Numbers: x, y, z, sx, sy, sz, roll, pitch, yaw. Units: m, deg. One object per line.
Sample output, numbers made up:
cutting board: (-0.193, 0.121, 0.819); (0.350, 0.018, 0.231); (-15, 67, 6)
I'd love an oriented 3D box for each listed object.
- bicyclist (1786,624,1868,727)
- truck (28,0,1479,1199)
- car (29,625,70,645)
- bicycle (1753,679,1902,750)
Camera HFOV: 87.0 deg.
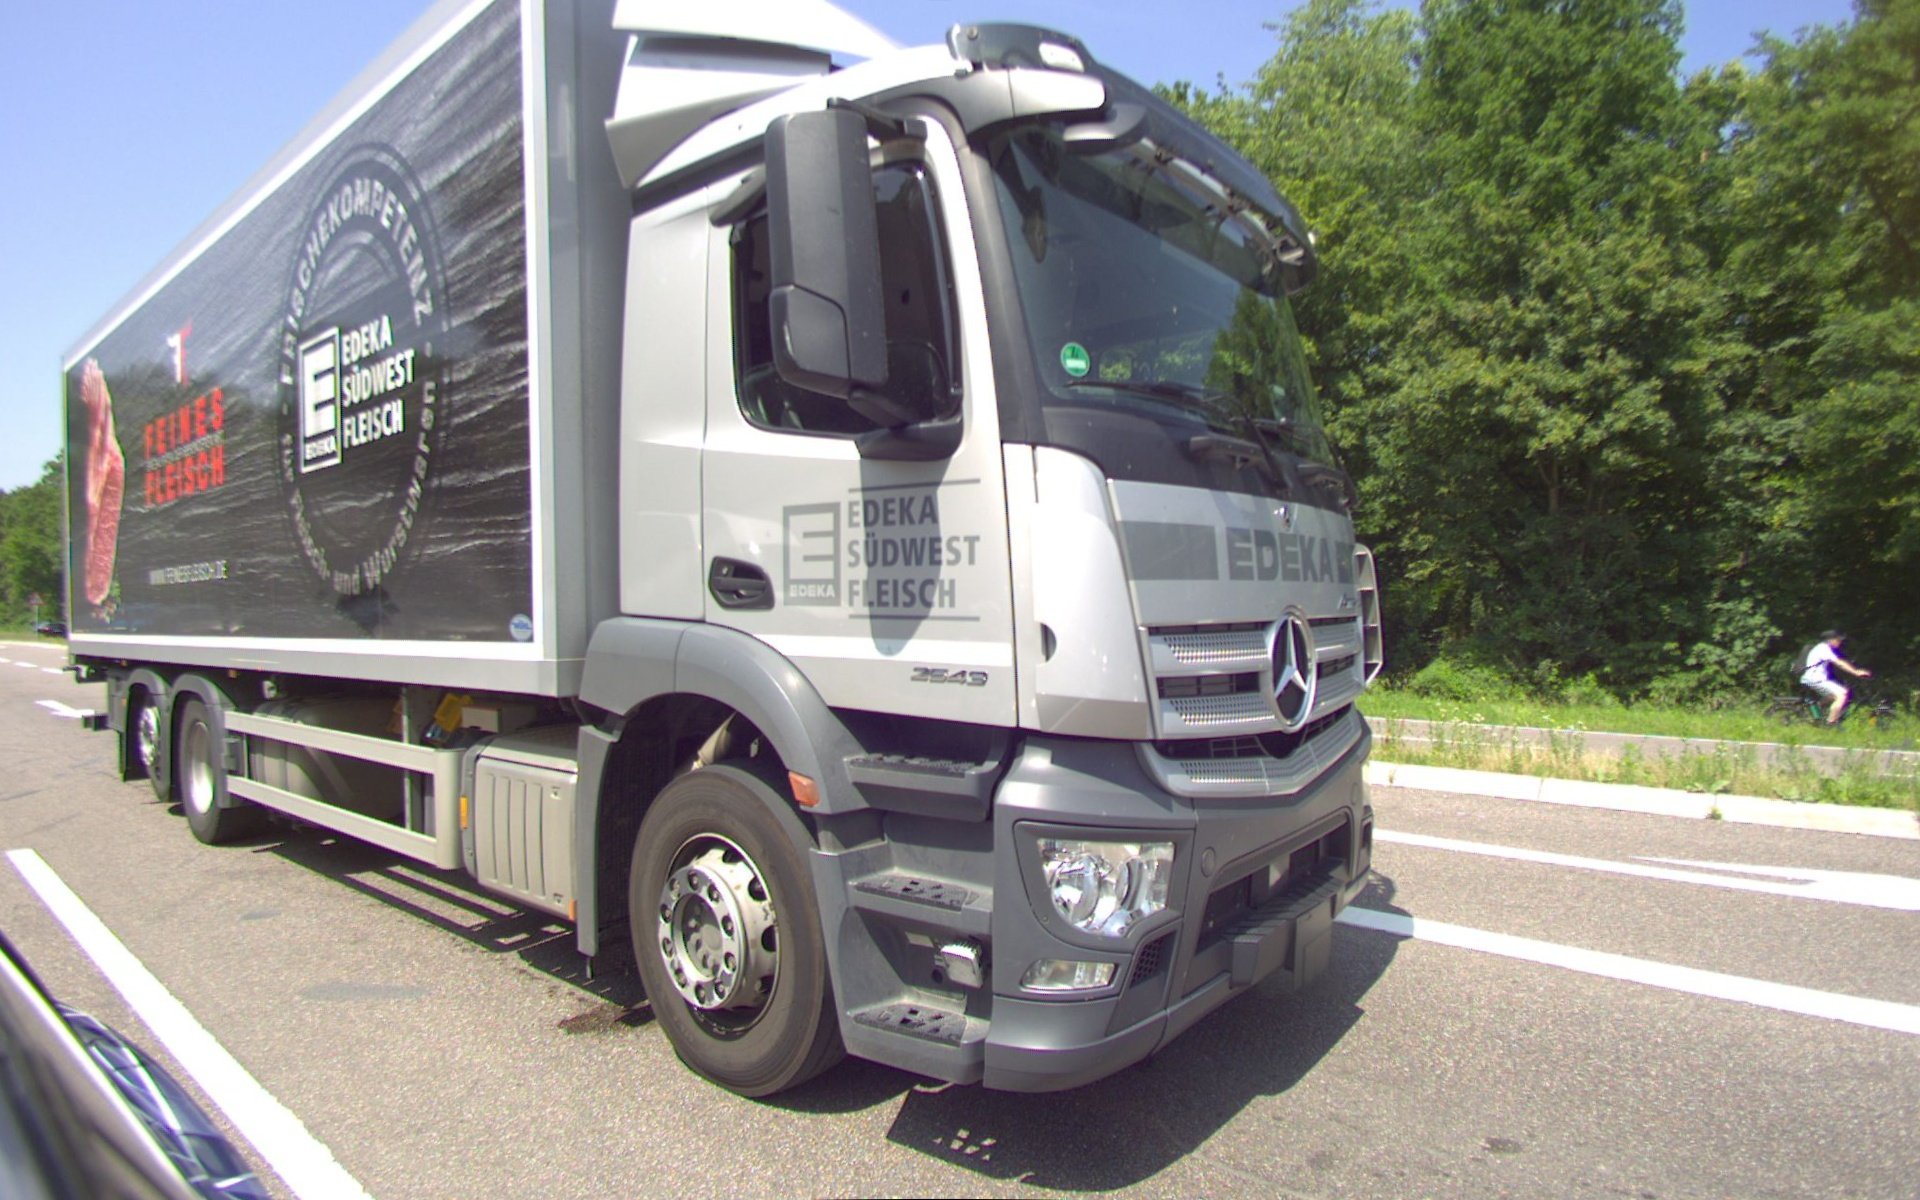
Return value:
bicyclist: (12.952, 1.101, 15.125); (0.651, 1.476, 0.811); (2, -2, -40)
truck: (-3.168, -0.516, 6.590); (11.309, 3.914, 2.719); (-1, -1, 39)
car: (-75.412, 2.865, 83.820); (3.997, 1.564, 1.973); (-1, 0, 40)
bicycle: (12.934, 1.685, 15.122); (0.558, 0.930, 1.608); (2, -2, -40)
